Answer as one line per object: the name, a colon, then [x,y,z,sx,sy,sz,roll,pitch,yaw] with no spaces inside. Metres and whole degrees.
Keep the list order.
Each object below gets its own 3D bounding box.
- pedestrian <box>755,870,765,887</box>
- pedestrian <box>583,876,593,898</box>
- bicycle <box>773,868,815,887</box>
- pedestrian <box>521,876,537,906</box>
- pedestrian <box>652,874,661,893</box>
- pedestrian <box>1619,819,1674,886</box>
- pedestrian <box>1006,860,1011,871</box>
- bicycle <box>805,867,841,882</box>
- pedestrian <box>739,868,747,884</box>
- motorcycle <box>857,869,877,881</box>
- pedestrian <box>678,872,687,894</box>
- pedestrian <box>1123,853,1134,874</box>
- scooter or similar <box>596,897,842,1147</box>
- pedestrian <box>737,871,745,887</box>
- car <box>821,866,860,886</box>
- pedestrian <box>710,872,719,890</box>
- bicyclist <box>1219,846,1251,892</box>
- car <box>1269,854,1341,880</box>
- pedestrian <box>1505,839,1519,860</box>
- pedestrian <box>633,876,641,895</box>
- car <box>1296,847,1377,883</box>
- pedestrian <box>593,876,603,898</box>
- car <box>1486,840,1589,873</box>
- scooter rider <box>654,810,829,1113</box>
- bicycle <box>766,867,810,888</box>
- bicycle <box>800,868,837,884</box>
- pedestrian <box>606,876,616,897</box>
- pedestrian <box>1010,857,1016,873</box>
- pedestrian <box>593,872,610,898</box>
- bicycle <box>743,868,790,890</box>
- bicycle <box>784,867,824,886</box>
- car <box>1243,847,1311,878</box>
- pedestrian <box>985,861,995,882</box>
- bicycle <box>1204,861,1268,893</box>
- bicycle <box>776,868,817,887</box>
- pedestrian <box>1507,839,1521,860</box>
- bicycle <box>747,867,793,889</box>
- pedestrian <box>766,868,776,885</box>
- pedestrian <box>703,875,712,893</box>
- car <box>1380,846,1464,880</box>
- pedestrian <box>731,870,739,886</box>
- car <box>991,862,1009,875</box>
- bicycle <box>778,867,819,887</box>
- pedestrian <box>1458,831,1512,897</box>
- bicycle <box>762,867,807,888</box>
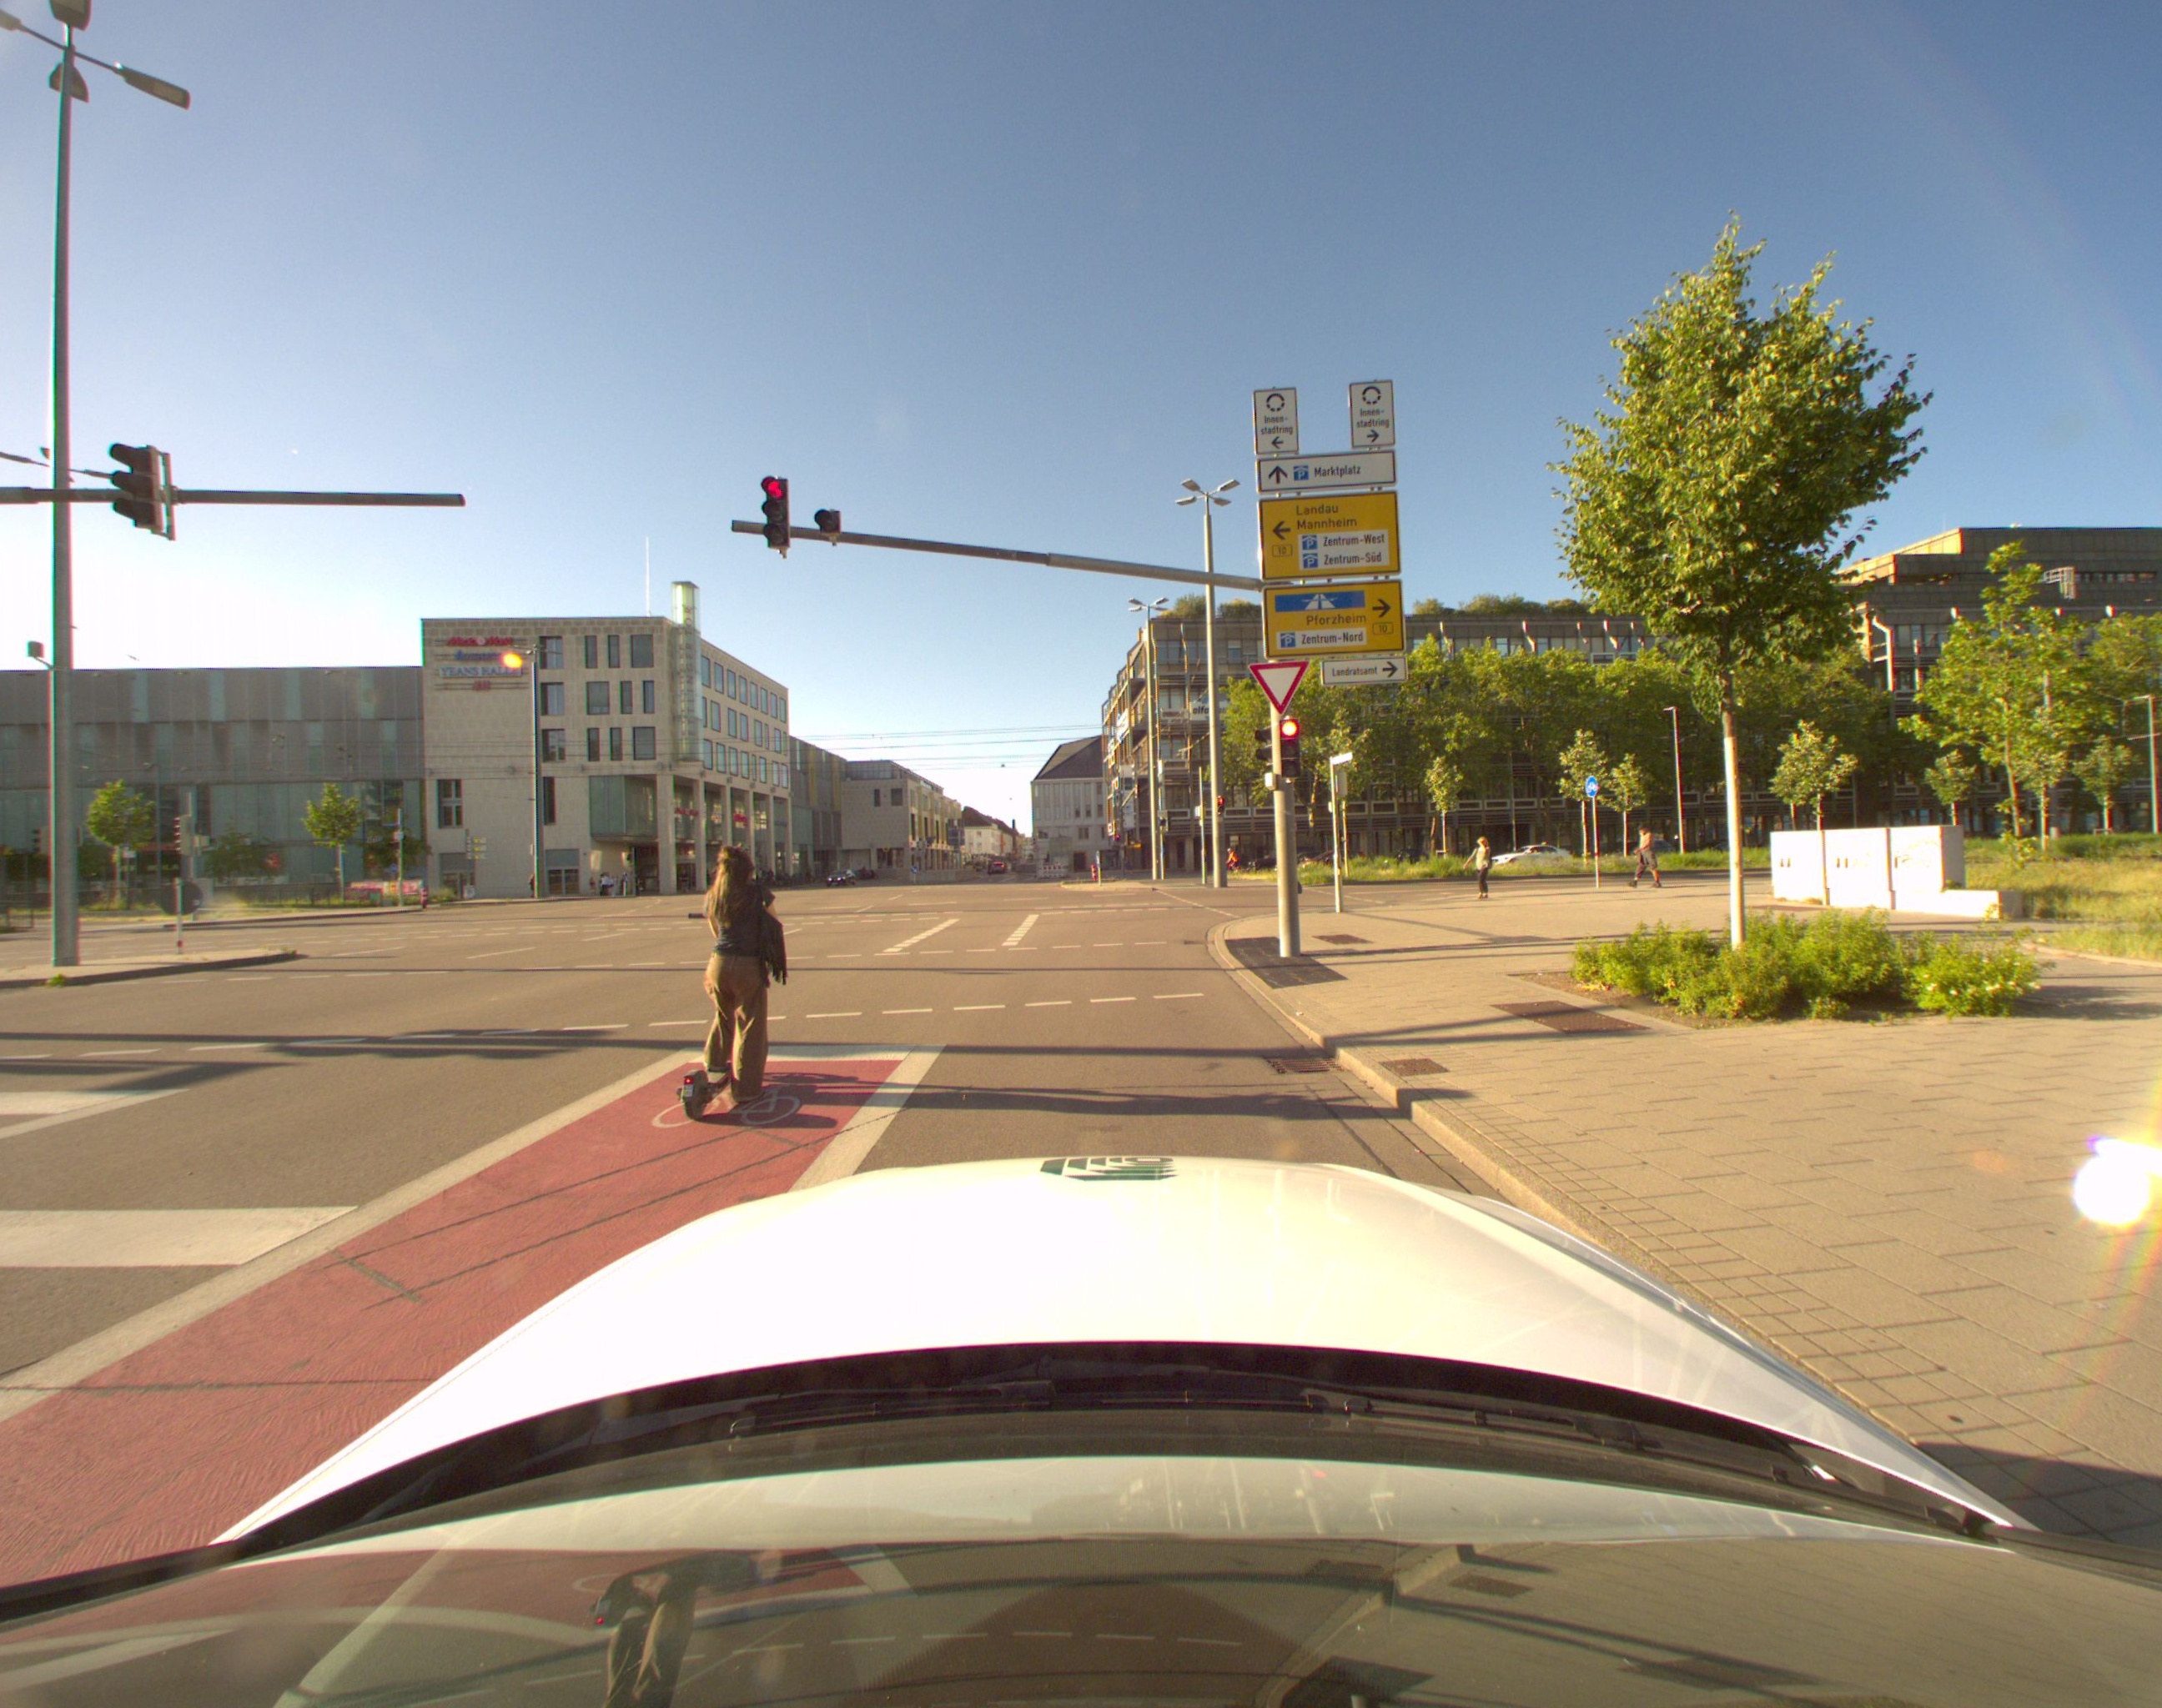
pedestrian: [-31.020,2.346,78.650,0.788,1.642,0.689,-2,0,-27]
pedestrian: [-35.268,2.354,58.295,0.421,1.501,0.456,-2,0,-9]
bicycle: [-26.678,2.180,75.755,3.491,1.696,0.984,-2,0,-10]
pedestrian: [-32.375,2.152,47.781,0.525,1.694,0.546,-2,0,-8]
pedestrian: [-35.252,2.446,67.634,0.428,1.585,0.498,-2,0,-3]
pedestrian: [15.008,-0.031,21.631,0.694,1.728,0.939,-2,0,-12]
pedestrian: [-9.255,1.473,103.463,0.608,1.411,0.569,-2,0,-5]
bicycle: [-27.651,2.211,87.443,3.491,1.527,0.984,-2,0,-10]
pedestrian: [-33.846,2.238,81.478,0.480,1.585,0.598,-2,0,-3]
motorcycle: [-25.965,2.534,98.859,2.269,1.318,0.719,-2,0,-4]
pedestrian: [-29.232,2.125,59.694,0.543,1.642,0.546,-2,0,-25]
pedestrian: [3.775,0.742,65.073,0.728,1.658,0.649,-2,0,-5]
scooter or similar: [-2.133,0.924,5.083,0.725,1.202,1.665,-1,0,2]
pedestrian: [-33.503,2.436,80.239,0.480,1.585,0.598,-2,0,-3]
car: [-20.767,1.886,70.499,1.986,1.486,4.002,-2,0,2]
pedestrian: [-32.285,2.374,71.786,0.480,1.510,0.513,-2,0,-3]
bicyclist: [8.888,0.851,47.063,1.566,2.580,0.929,-2,0,-7]
car: [13.854,0.778,50.467,3.976,1.508,1.867,-1,0,-2]
pedestrian: [35.160,-0.379,66.386,0.662,1.658,0.739,-2,0,-5]
pedestrian: [-32.560,2.307,59.745,0.387,1.426,0.500,-2,0,-14]
car: [14.455,0.615,46.201,3.975,2.014,1.999,0,-1,-1]
pedestrian: [-34.785,2.397,58.624,0.420,1.565,0.457,-2,0,2]
car: [28.895,0.138,51.645,5.424,2.014,2.097,0,-1,-1]
scooter rider: [-2.126,0.634,5.204,0.726,1.775,0.811,-1,0,1]
bicycle: [-26.318,2.114,73.168,3.488,1.696,1.114,-2,0,-7]
bicycle: [-27.546,2.290,85.575,3.491,1.527,0.984,-2,0,-10]
pedestrian: [-34.255,2.380,59.352,0.421,1.527,0.456,-2,0,-6]
pedestrian: [-8.681,1.391,103.710,0.608,2.013,0.569,-2,0,-5]
pedestrian: [-33.925,2.169,57.641,0.755,1.798,0.736,-2,0,-3]
bicycle: [-26.729,2.096,69.287,3.488,1.696,1.114,-2,0,-7]
bicycle: [-27.246,2.233,80.156,3.491,1.696,0.984,-2,0,-10]
car: [12.842,0.556,53.616,3.975,2.014,1.999,0,-1,-1]
pedestrian: [-7.412,1.410,66.229,0.661,1.658,0.755,-2,0,-1]
bicycle: [8.929,1.312,47.059,3.488,1.659,0.929,-2,0,-7]
bicycle: [-26.854,2.198,76.851,3.491,1.696,0.984,-2,0,-10]
pedestrian: [34.915,-0.384,65.620,0.662,1.658,0.739,-2,0,-5]
bicycle: [-26.905,2.056,70.449,3.488,1.696,1.114,-2,0,-7]
pedestrian: [-30.102,2.158,79.132,0.652,1.642,0.693,-2,0,-7]
pedestrian: [-32.546,2.618,70.984,0.480,1.585,0.513,-2,0,-3]
car: [21.408,0.556,51.239,4.435,2.014,1.998,0,-1,-4]
pedestrian: [-33.002,2.309,77.643,0.480,1.510,0.513,-2,0,-3]
car: [-10.788,1.880,108.854,2.195,1.607,4.320,-2,0,-4]
bicycle: [-27.041,2.210,78.060,3.491,1.696,0.984,-2,0,-10]
pedestrian: [10.388,0.255,20.956,0.801,1.630,0.939,-2,0,-12]
bicycle: [-26.141,2.069,71.948,3.488,1.696,1.114,-2,0,-7]
